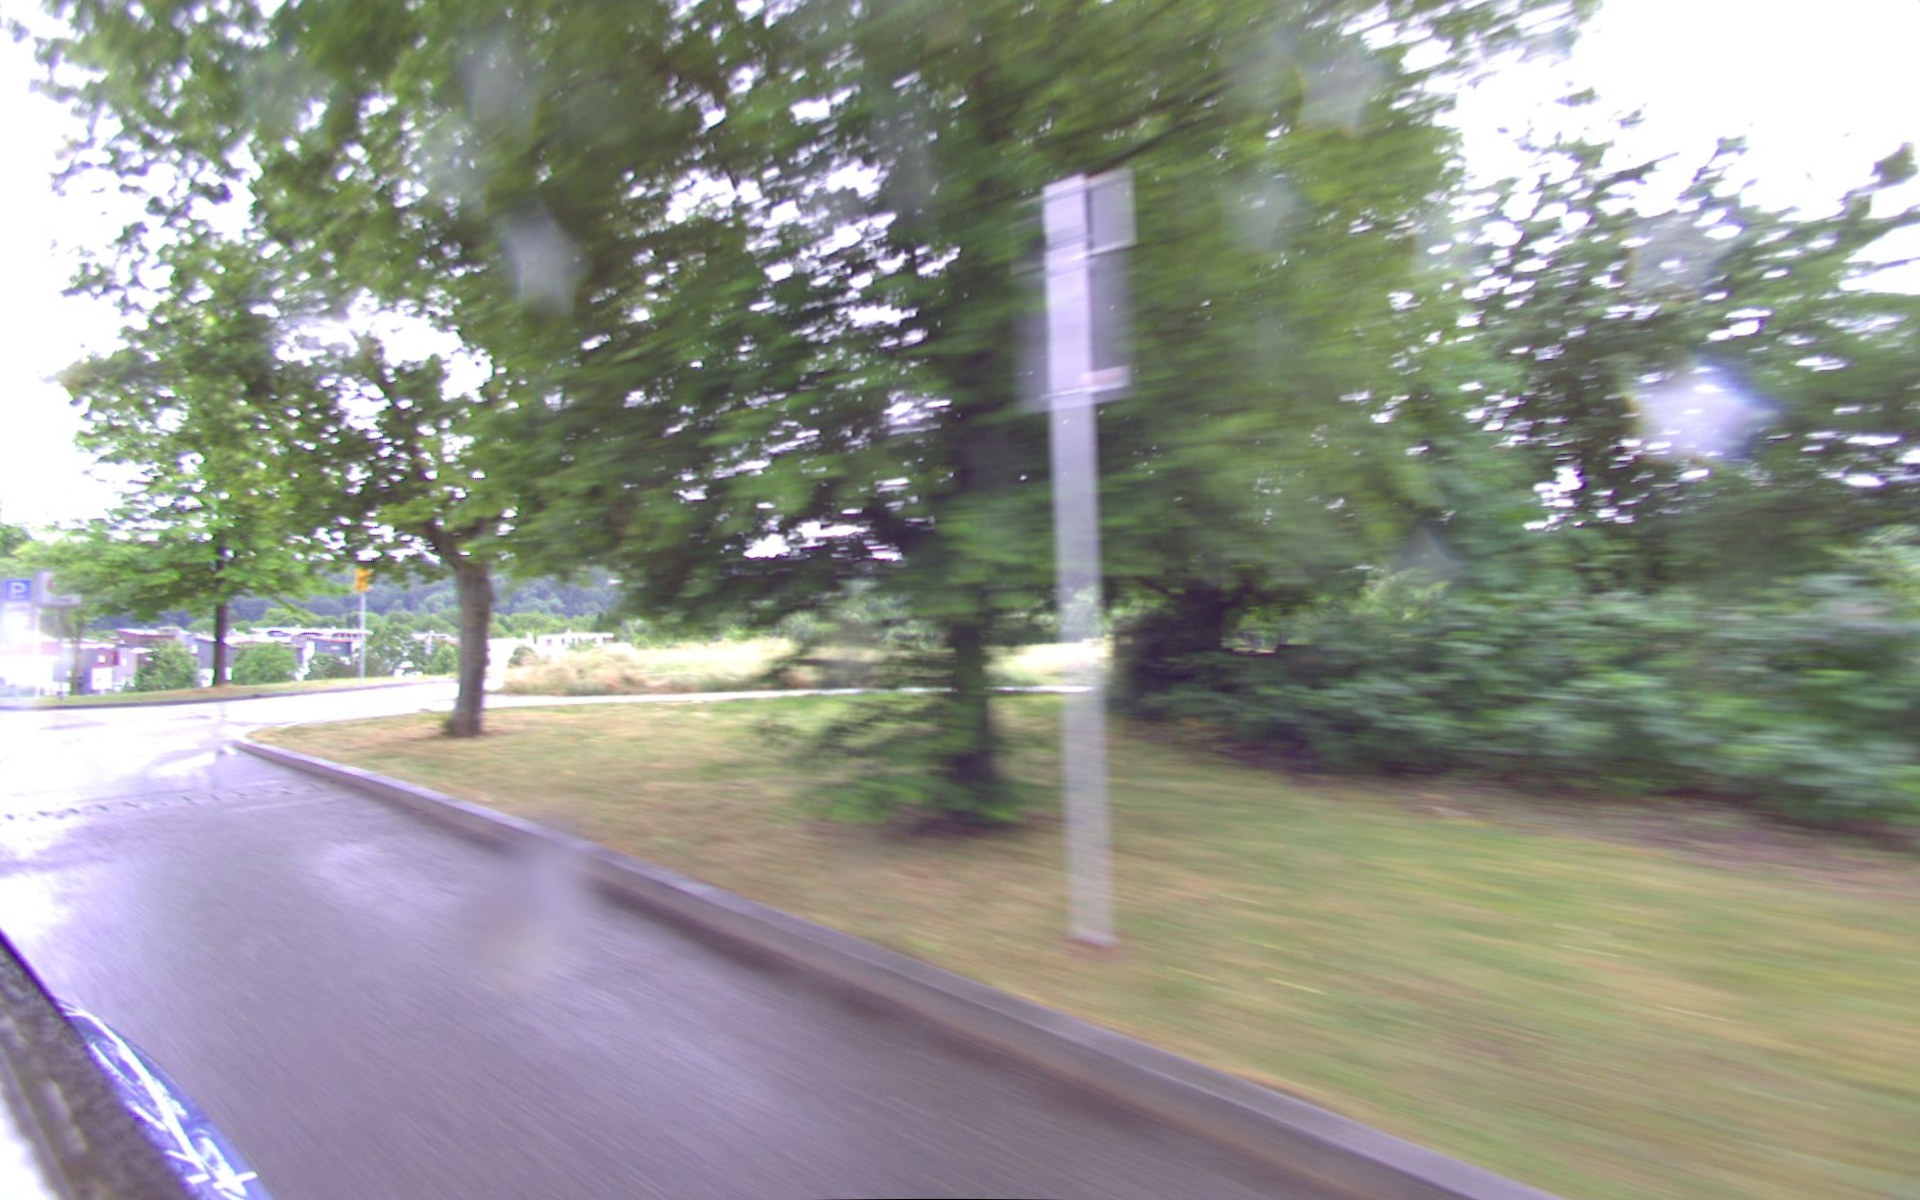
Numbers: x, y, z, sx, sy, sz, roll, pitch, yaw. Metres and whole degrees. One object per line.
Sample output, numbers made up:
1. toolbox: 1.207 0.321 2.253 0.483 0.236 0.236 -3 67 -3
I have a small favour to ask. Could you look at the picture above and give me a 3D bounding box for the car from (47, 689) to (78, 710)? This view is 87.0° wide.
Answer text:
1. car: -148.435 16.452 167.401 5.062 3.250 2.121 -4 -2 27
